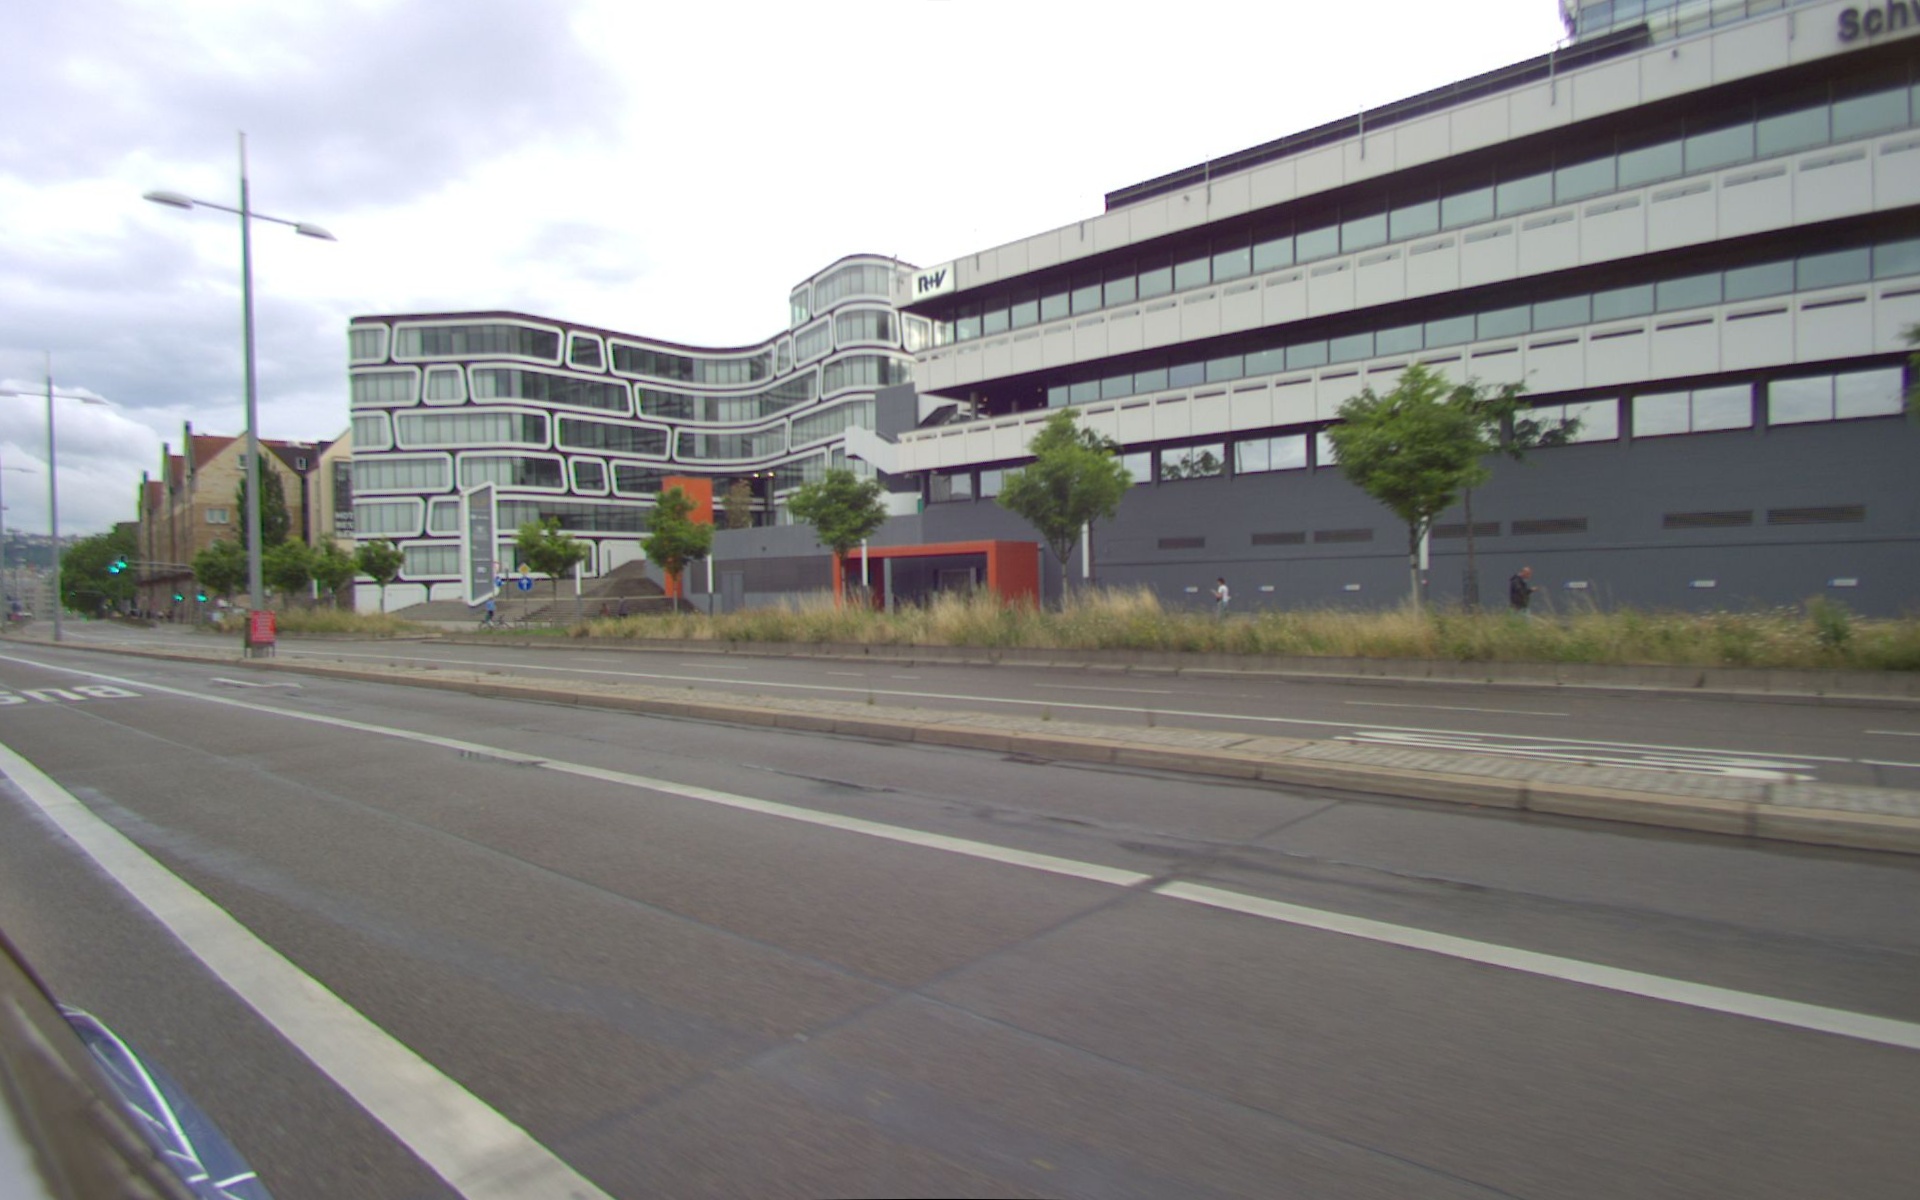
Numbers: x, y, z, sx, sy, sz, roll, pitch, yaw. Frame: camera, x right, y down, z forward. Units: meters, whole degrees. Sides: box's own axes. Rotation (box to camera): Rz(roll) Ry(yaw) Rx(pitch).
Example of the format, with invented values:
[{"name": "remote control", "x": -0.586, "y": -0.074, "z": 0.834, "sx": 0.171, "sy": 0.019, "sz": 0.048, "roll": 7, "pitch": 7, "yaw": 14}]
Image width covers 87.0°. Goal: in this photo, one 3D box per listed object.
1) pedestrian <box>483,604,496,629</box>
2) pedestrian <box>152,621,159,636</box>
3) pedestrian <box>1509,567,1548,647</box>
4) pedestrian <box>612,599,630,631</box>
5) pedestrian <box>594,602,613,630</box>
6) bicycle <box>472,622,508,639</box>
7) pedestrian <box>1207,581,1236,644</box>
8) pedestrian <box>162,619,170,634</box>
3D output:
[{"name": "pedestrian", "x": -31.441, "y": 1.086, "z": 67.591, "sx": 0.640, "sy": 1.623, "sz": 0.604, "roll": 0, "pitch": 1, "yaw": 45}, {"name": "pedestrian", "x": -93.440, "y": 3.303, "z": 117.532, "sx": 0.668, "sy": 1.792, "sz": 0.684, "roll": 0, "pitch": 0, "yaw": -42}, {"name": "pedestrian", "x": 13.164, "y": 0.155, "z": 23.432, "sx": 0.628, "sy": 1.821, "sz": 0.776, "roll": 0, "pitch": 0, "yaw": 42}, {"name": "pedestrian", "x": -17.706, "y": 0.777, "z": 52.881, "sx": 0.798, "sy": 1.670, "sz": 0.611, "roll": 0, "pitch": -1, "yaw": 43}, {"name": "pedestrian", "x": -18.343, "y": 0.809, "z": 52.034, "sx": 0.798, "sy": 1.457, "sz": 0.611, "roll": 0, "pitch": 0, "yaw": 43}, {"name": "bicycle", "x": -24.994, "y": 1.632, "z": 53.819, "sx": 1.638, "sy": 0.864, "sz": 0.608, "roll": 0, "pitch": 0, "yaw": 9}, {"name": "pedestrian", "x": 7.704, "y": 0.352, "z": 29.810, "sx": 0.628, "sy": 1.821, "sz": 0.623, "roll": 0, "pitch": 0, "yaw": 42}, {"name": "pedestrian", "x": -93.184, "y": 3.103, "z": 118.743, "sx": 0.668, "sy": 1.792, "sz": 0.684, "roll": 0, "pitch": 0, "yaw": -42}]
